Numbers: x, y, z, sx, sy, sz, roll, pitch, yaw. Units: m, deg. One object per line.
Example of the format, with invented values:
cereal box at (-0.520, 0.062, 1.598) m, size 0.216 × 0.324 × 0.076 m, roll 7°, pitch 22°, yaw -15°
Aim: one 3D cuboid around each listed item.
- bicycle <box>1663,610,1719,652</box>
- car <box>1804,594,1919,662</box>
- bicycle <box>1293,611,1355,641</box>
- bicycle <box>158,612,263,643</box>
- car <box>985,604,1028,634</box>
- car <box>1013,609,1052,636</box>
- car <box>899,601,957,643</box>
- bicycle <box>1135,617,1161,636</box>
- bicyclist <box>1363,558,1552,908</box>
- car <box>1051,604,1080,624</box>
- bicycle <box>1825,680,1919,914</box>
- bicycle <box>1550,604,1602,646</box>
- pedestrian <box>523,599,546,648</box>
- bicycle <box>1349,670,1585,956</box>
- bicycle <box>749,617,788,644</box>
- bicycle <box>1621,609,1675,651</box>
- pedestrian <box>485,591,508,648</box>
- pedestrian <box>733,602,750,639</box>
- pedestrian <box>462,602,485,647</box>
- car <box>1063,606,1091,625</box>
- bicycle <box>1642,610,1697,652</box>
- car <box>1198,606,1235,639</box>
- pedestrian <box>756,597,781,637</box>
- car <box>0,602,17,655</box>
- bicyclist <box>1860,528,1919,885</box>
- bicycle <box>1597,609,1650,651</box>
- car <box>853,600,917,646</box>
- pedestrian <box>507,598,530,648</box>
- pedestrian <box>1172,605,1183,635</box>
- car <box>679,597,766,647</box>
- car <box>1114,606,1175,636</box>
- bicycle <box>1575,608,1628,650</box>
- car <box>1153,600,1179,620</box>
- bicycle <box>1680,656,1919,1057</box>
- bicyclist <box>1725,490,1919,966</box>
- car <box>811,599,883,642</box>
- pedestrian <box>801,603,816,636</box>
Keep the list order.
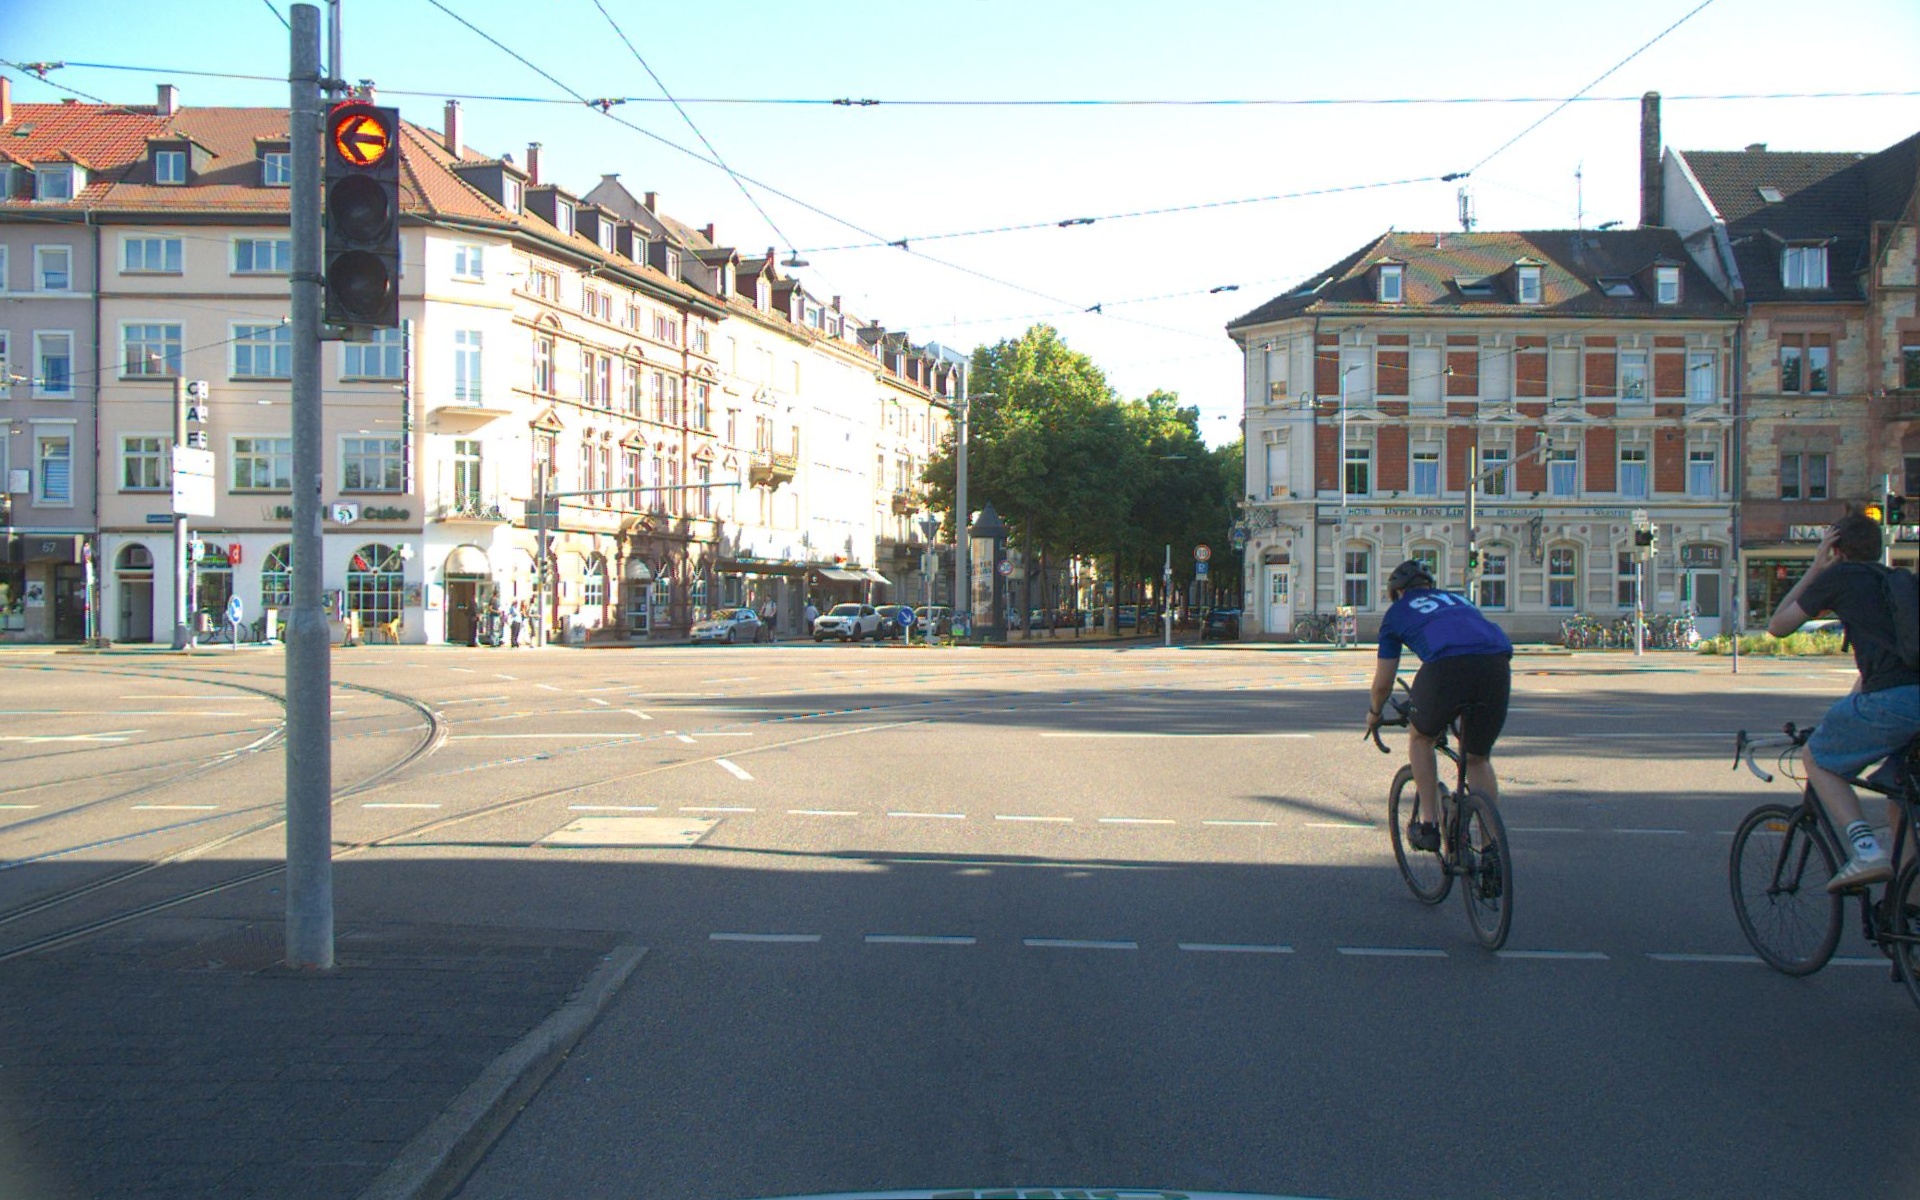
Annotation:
bicycle at (23.483, 0.983, 53.181) m, size 0.615 × 1.309 × 2.661 m, roll 1°, pitch 0°, yaw 0°
car at (25.867, 0.780, 46.056) m, size 3.706 × 1.809 × 1.999 m, roll 1°, pitch 0°, yaw -2°
bicycle at (12.589, 0.903, 57.270) m, size 2.006 × 1.015 × 0.631 m, roll 0°, pitch -1°, yaw 2°
bicycle at (-25.517, 0.938, 56.354) m, size 3.066 × 0.997 × 1.001 m, roll 1°, pitch 0°, yaw -1°
car at (3.176, 1.281, 112.742) m, size 1.951 × 1.937 × 4.002 m, roll 1°, pitch 0°, yaw 16°
car at (5.377, 1.662, 122.679) m, size 1.951 × 1.937 × 4.002 m, roll 1°, pitch 0°, yaw 16°
car at (-1.516, 1.062, 79.768) m, size 1.951 × 1.937 × 4.003 m, roll 1°, pitch 0°, yaw 11°
bicycle at (11.278, 1.564, 99.230) m, size 0.619 × 1.104 × 1.685 m, roll 1°, pitch 0°, yaw -31°
bicyclist at (2.283, 0.569, 7.677) m, size 0.625 × 1.520 × 0.884 m, roll 1°, pitch 1°, yaw 3°
car at (8.445, 1.151, 132.046) m, size 1.526 × 1.540 × 3.658 m, roll 1°, pitch 0°, yaw 16°
bicycle at (4.788, 0.942, 7.658) m, size 0.636 × 1.049 × 1.771 m, roll 1°, pitch 0°, yaw 0°
bicycle at (19.748, 0.800, 53.095) m, size 0.678 × 1.309 × 2.661 m, roll 1°, pitch 0°, yaw 0°
pedestrian at (-14.652, 0.800, 56.945) m, size 0.620 × 1.662 × 0.700 m, roll 1°, pitch -1°, yaw -4°
bicycle at (2.296, 0.916, 7.685) m, size 0.613 × 1.104 × 1.703 m, roll 1°, pitch 0°, yaw 2°
bicycle at (-7.530, 1.201, 65.163) m, size 0.746 × 1.025 × 2.398 m, roll 1°, pitch 0°, yaw 13°
bicycle at (22.084, 0.942, 53.159) m, size 0.615 × 1.309 × 2.661 m, roll 1°, pitch 0°, yaw 0°
pedestrian at (-15.910, 0.667, 56.762) m, size 0.620 × 1.914 × 0.465 m, roll 1°, pitch -1°, yaw -5°
pedestrian at (-10.035, 0.947, 75.948) m, size 0.532 × 1.660 × 0.707 m, roll 1°, pitch -1°, yaw 13°
pedestrian at (-16.440, 0.830, 55.910) m, size 0.620 × 1.502 × 0.465 m, roll 1°, pitch -1°, yaw -5°
car at (9.659, 1.268, 136.350) m, size 1.526 × 1.540 × 3.658 m, roll 1°, pitch 0°, yaw 16°
bicycle at (22.799, 0.969, 53.183) m, size 0.615 × 1.309 × 2.661 m, roll 1°, pitch 0°, yaw 0°
car at (12.866, 1.124, 82.782) m, size 1.655 × 1.592 × 3.844 m, roll 1°, pitch 0°, yaw 11°
pedestrian at (-7.542, 0.662, 65.092) m, size 0.803 × 1.539 × 0.598 m, roll 1°, pitch -1°, yaw 14°
car at (-32.386, 0.910, 52.432) m, size 3.902 × 1.699 × 2.002 m, roll 0°, pitch 0°, yaw 8°
bicyclist at (4.820, 0.500, 7.788) m, size 0.675 × 1.662 × 0.883 m, roll 1°, pitch -1°, yaw 1°
bicycle at (21.306, 0.936, 53.156) m, size 0.615 × 1.309 × 2.661 m, roll 1°, pitch 0°, yaw 0°
car at (-3.302, 1.006, 73.621) m, size 1.951 × 1.937 × 4.003 m, roll 1°, pitch 0°, yaw 11°
pedestrian at (-14.861, 0.767, 55.675) m, size 0.620 × 1.662 × 0.700 m, roll 1°, pitch -1°, yaw -4°
pedestrian at (13.255, 1.218, 100.790) m, size 0.626 × 1.827 × 0.491 m, roll 1°, pitch -1°, yaw 12°
car at (-9.569, 0.871, 66.983) m, size 1.951 × 1.937 × 4.002 m, roll 1°, pitch 0°, yaw 17°
car at (12.846, 1.457, 115.158) m, size 3.902 × 1.937 × 2.001 m, roll 1°, pitch 0°, yaw 15°
bicycle at (20.595, 0.925, 53.134) m, size 0.678 × 1.309 × 2.661 m, roll 1°, pitch 0°, yaw 0°
car at (16.775, 0.826, 134.827) m, size 1.526 × 1.540 × 3.658 m, roll 1°, pitch 0°, yaw 16°
bicycle at (3.479, 0.871, 6.217) m, size 0.740 × 1.258 × 1.702 m, roll 1°, pitch 0°, yaw -2°
bicyclist at (3.462, 0.447, 6.149) m, size 0.789 × 1.634 × 0.883 m, roll 1°, pitch 0°, yaw -3°
car at (-4.556, 0.824, 67.264) m, size 1.951 × 1.646 × 4.003 m, roll 1°, pitch 0°, yaw 11°
pedestrian at (-7.640, 0.971, 83.606) m, size 0.532 × 1.660 × 0.707 m, roll 1°, pitch -1°, yaw 13°
